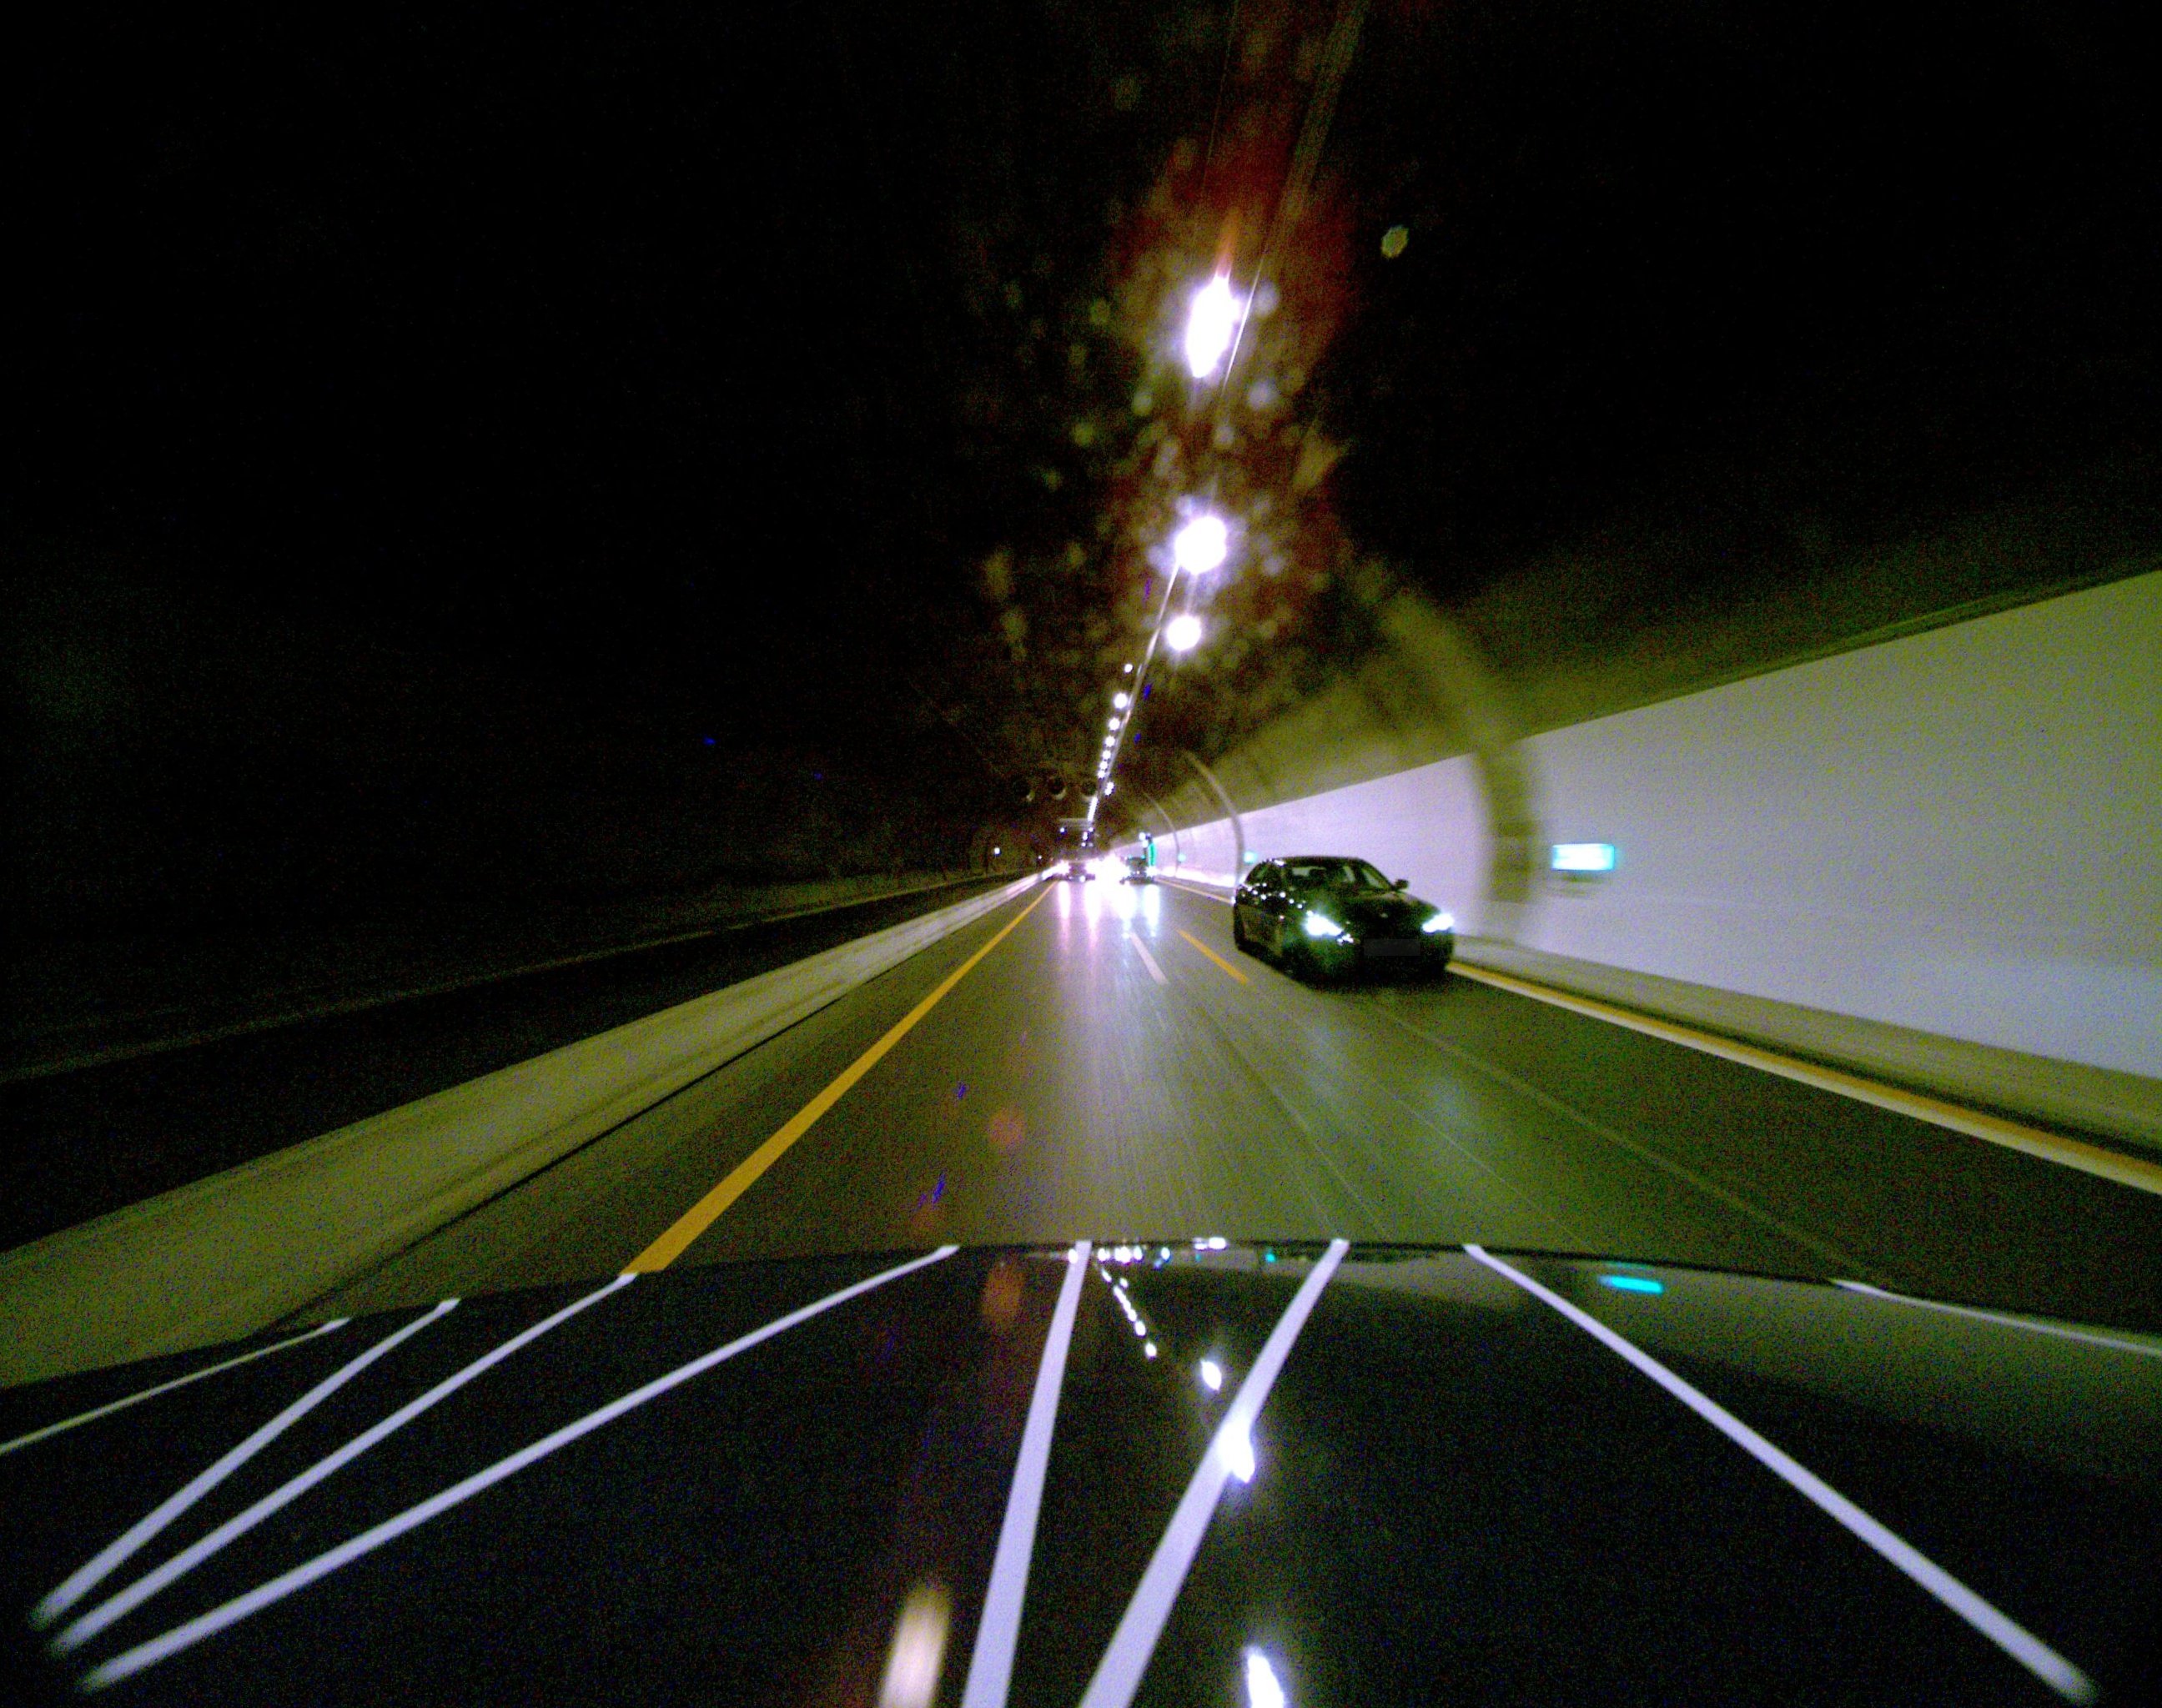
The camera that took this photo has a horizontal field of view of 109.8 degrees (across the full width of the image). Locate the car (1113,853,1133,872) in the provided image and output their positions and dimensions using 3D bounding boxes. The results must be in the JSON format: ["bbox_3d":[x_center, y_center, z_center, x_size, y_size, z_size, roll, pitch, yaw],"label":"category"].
[{"bbox_3d":[3.567,0.707,65.131,1.531,1.508,2.651,-2,0,1],"label":"car"}]

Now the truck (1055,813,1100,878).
[{"bbox_3d":[-0.151,-0.567,53.413,2.742,4.127,8.100,-2,0,1],"label":"truck"}]

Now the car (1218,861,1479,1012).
[{"bbox_3d":[3.222,0.876,10.335,1.782,1.430,4.882,-2,0,0],"label":"car"}]

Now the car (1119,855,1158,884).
[{"bbox_3d":[3.150,0.801,42.549,1.782,1.430,4.882,-2,0,0],"label":"car"}]

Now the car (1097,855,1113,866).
[{"bbox_3d":[3.261,0.894,104.293,1.909,1.412,4.060,-2,0,-2],"label":"car"}]
